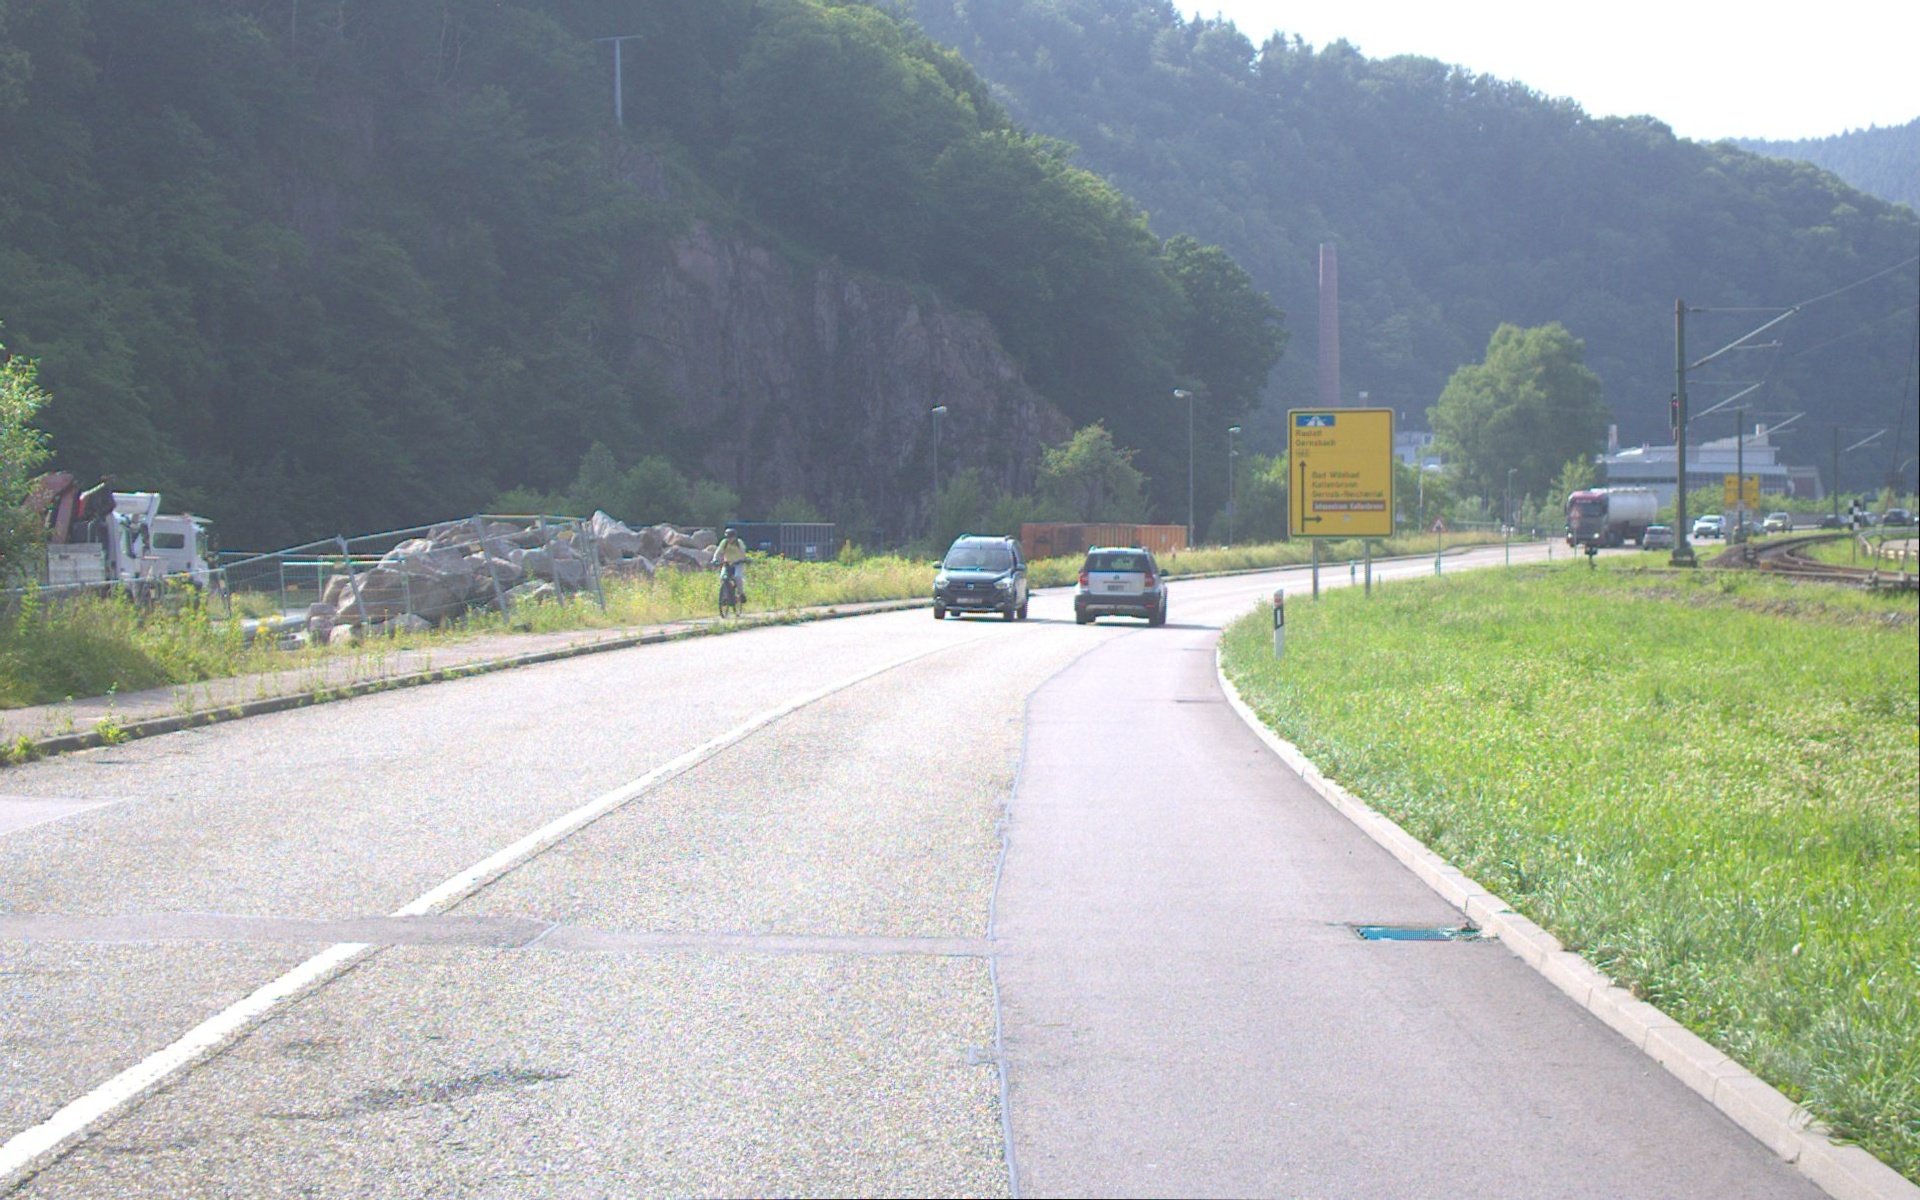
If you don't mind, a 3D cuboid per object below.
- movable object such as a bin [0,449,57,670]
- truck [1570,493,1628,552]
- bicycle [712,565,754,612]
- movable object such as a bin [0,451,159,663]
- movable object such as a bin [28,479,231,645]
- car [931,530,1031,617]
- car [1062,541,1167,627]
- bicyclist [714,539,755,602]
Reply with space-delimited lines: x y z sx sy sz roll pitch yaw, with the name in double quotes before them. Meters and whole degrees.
"movable object such as a bin" -18.469 -0.668 59.489 2.699 3.934 9.990 -2 1 1
"truck" 43.213 -5.223 232.355 2.752 3.822 8.191 2 2 18
"bicycle" -4.395 -0.230 66.737 0.539 0.878 2.253 2 1 3
"movable object such as a bin" -18.233 -0.822 68.102 2.721 3.934 7.229 -2 1 2
"movable object such as a bin" -20.866 -0.963 86.850 2.898 3.934 7.809 -2 1 2
"car" 0.491 -0.598 75.072 1.851 1.778 4.684 2 1 4
"car" 3.317 -0.358 73.166 1.994 1.717 3.989 -2 1 6
"bicyclist" -4.369 -0.575 66.715 0.684 1.220 0.858 1 1 3
